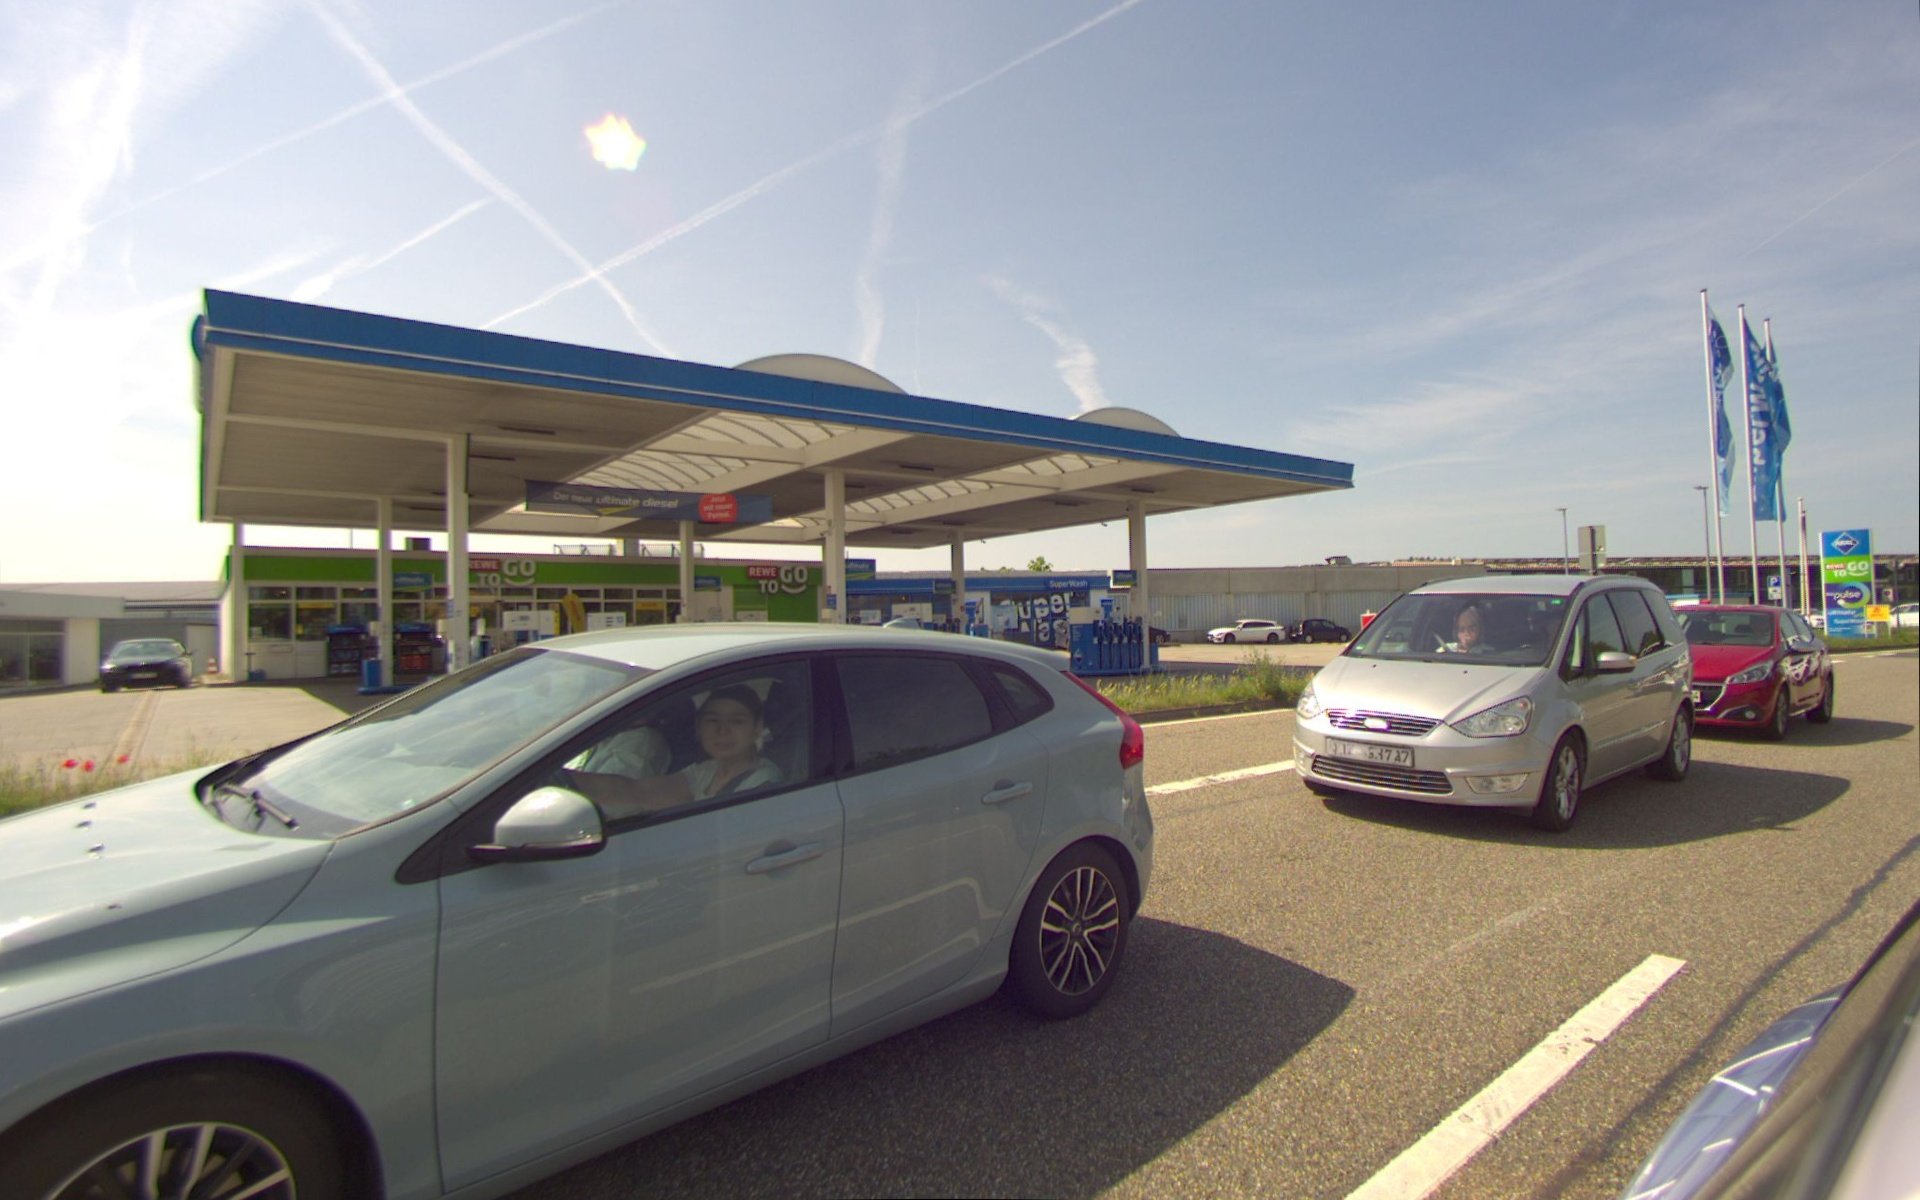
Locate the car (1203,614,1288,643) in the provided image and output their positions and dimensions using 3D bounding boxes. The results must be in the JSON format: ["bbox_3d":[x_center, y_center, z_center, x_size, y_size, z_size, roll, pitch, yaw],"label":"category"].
[{"bbox_3d":[16.935,1.675,60.151,4.435,1.625,1.893,-1,-1,-13],"label":"car"}]

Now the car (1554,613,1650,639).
[{"bbox_3d":[34.114,1.381,53.893,4.083,1.269,1.684,-2,-1,26],"label":"car"}]

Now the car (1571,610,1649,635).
[{"bbox_3d":[40.168,1.402,62.693,1.785,1.477,4.051,1,-2,-9],"label":"car"}]

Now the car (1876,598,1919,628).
[{"bbox_3d":[54.353,0.725,56.627,1.784,1.659,4.266,1,-2,-15],"label":"car"}]

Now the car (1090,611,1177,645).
[{"bbox_3d":[10.065,1.630,58.748,4.557,1.849,1.893,-1,-1,-15],"label":"car"}]

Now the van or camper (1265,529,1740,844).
[{"bbox_3d":[4.618,0.512,8.173,5.045,1.810,1.748,0,-2,-42],"label":"van or camper"}]

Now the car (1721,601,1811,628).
[{"bbox_3d":[51.994,0.953,65.384,1.785,1.659,4.471,1,-2,-9],"label":"car"}]

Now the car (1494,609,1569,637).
[{"bbox_3d":[34.655,1.380,61.481,1.852,1.625,4.025,-1,-1,-7],"label":"car"}]

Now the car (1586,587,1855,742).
[{"bbox_3d":[9.259,0.649,12.237,3.647,1.592,1.804,0,0,-40],"label":"car"}]

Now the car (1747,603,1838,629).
[{"bbox_3d":[53.983,1.057,65.733,1.785,1.659,4.471,1,-2,-9],"label":"car"}]

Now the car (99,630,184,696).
[{"bbox_3d":[-22.821,1.694,28.295,1.722,1.659,3.995,0,-2,-38],"label":"car"}]

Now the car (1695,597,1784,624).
[{"bbox_3d":[50.071,0.728,65.090,1.785,1.659,4.471,1,-2,-9],"label":"car"}]

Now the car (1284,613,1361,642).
[{"bbox_3d":[21.948,1.676,61.344,3.938,1.625,1.893,-1,-1,-10],"label":"car"}]

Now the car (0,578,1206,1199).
[{"bbox_3d":[-1.128,0.709,3.266,4.154,1.447,1.736,0,-2,-43],"label":"car"}]

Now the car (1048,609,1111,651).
[{"bbox_3d":[5.686,1.421,48.592,1.851,1.849,4.177,-1,-1,-9],"label":"car"}]
